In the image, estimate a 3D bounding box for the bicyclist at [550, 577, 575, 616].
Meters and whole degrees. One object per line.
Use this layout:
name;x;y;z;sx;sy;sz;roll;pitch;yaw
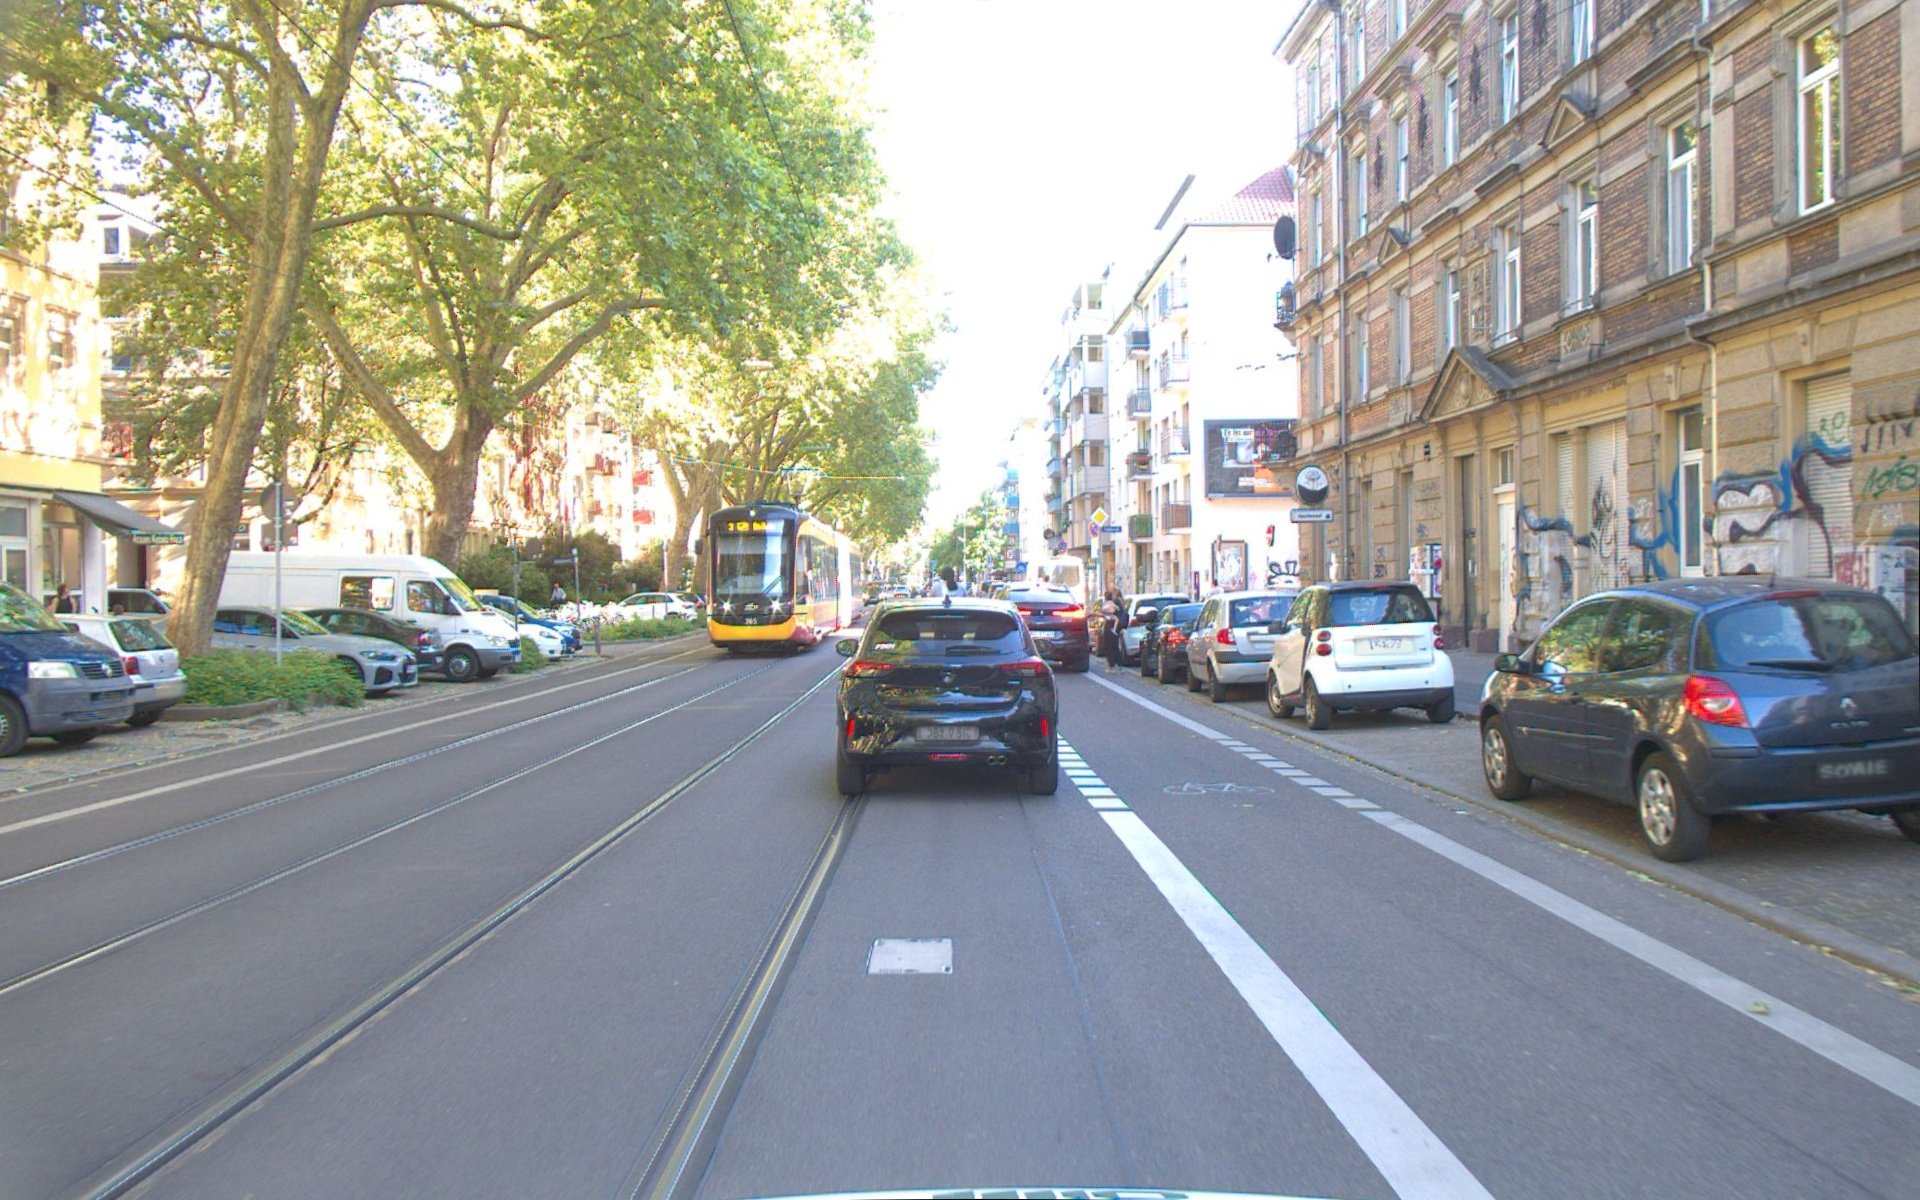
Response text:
bicyclist;-18.534;-0.171;77.147;0.967;1.787;1.153;0;0;-3

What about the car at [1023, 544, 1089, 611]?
car;3.514;-0.808;61.656;2.033;2.257;4.933;-4;0;0

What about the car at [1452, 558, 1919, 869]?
car;4.603;0.572;10.497;1.676;1.509;3.763;-4;0;-1

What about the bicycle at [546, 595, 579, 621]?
bicycle;-18.500;0.349;77.029;0.967;1.190;2.950;0;0;-3

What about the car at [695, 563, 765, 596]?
car;-13.174;-1.163;94.806;3.842;1.821;1.676;1;0;-4

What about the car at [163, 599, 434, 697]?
car;-11.049;0.783;27.783;3.839;1.524;1.677;1;0;0

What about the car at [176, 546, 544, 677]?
car;-11.982;0.229;33.439;6.493;2.451;2.457;1;0;-1

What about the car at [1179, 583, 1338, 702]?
car;4.256;0.553;24.077;1.670;1.481;3.698;-4;0;2

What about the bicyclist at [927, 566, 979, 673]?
bicyclist;-0.126;0.316;27.997;0.831;1.770;1.161;0;0;-2

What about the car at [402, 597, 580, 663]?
car;-11.319;0.710;40.089;3.842;1.524;1.676;1;0;-4

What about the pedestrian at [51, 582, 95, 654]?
pedestrian;-19.058;0.392;35.539;0.648;1.524;0.626;1;0;-11

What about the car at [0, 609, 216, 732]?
car;-11.682;0.858;21.052;3.659;1.455;1.637;1;0;-2

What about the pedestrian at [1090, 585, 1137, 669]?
pedestrian;2.961;0.508;31.873;0.848;1.594;0.768;0;0;1

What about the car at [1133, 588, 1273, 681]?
car;4.125;0.545;28.695;1.773;1.361;3.933;-4;0;0

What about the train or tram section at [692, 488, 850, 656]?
train or tram section;-4.696;-0.669;43.757;2.679;3.746;12.716;-1;0;0

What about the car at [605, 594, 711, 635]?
car;-11.739;0.558;64.452;3.842;1.524;1.676;1;0;-4

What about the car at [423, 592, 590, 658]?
car;-11.609;0.630;42.541;3.842;1.605;1.676;1;0;-4

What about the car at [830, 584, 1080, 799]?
car;-0.077;0.627;13.433;1.757;1.466;3.530;0;1;-2

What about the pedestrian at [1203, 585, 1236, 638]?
pedestrian;7.900;0.333;50.441;0.849;1.594;0.768;0;0;-3

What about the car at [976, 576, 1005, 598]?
car;2.054;-0.868;111.835;1.773;1.361;3.933;-4;0;0

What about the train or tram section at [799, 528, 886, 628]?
train or tram section;-4.768;-0.867;69.223;2.679;3.746;12.716;-1;0;0

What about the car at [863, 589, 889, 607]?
car;-6.491;-0.133;128.282;1.773;1.361;3.933;-1;0;0

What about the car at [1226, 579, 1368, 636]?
car;11.092;0.242;54.596;4.289;1.829;1.876;0;0;-2

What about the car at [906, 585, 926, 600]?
car;-4.222;-0.720;159.527;1.773;1.361;3.933;0;0;0

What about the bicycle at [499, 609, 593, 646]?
bicycle;-13.683;0.899;54.687;2.880;1.190;0.991;0;0;15

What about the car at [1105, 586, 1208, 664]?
car;4.107;0.492;35.100;1.628;1.444;3.933;-4;0;0

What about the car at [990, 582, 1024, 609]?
car;2.657;-0.283;93.971;1.773;1.361;3.933;-4;0;0

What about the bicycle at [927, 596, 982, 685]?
bicycle;-0.115;0.652;28.111;0.843;1.431;2.523;0;0;-2

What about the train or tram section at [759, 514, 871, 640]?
train or tram section;-4.735;-0.747;56.488;2.679;3.746;12.716;-1;0;0

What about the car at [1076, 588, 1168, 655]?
car;3.887;0.487;40.201;1.773;1.403;3.933;-4;0;0

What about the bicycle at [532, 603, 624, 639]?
bicycle;-12.898;0.690;55.853;2.880;1.190;0.991;0;0;15

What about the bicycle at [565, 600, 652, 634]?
bicycle;-12.322;0.589;57.983;2.880;1.190;0.991;0;0;15

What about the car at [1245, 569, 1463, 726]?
car;4.439;0.498;19.028;1.536;1.543;3.038;-4;0;-3

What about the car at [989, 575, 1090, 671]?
car;1.521;0.417;32.748;1.773;1.772;3.932;0;0;-1

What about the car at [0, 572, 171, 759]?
car;-11.543;0.660;18.353;4.579;1.957;1.980;1;0;0

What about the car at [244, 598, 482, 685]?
car;-11.089;0.762;30.934;3.842;1.524;1.676;1;0;-4

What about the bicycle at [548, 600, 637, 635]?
bicycle;-12.640;0.592;56.913;2.880;1.190;0.991;0;0;15
